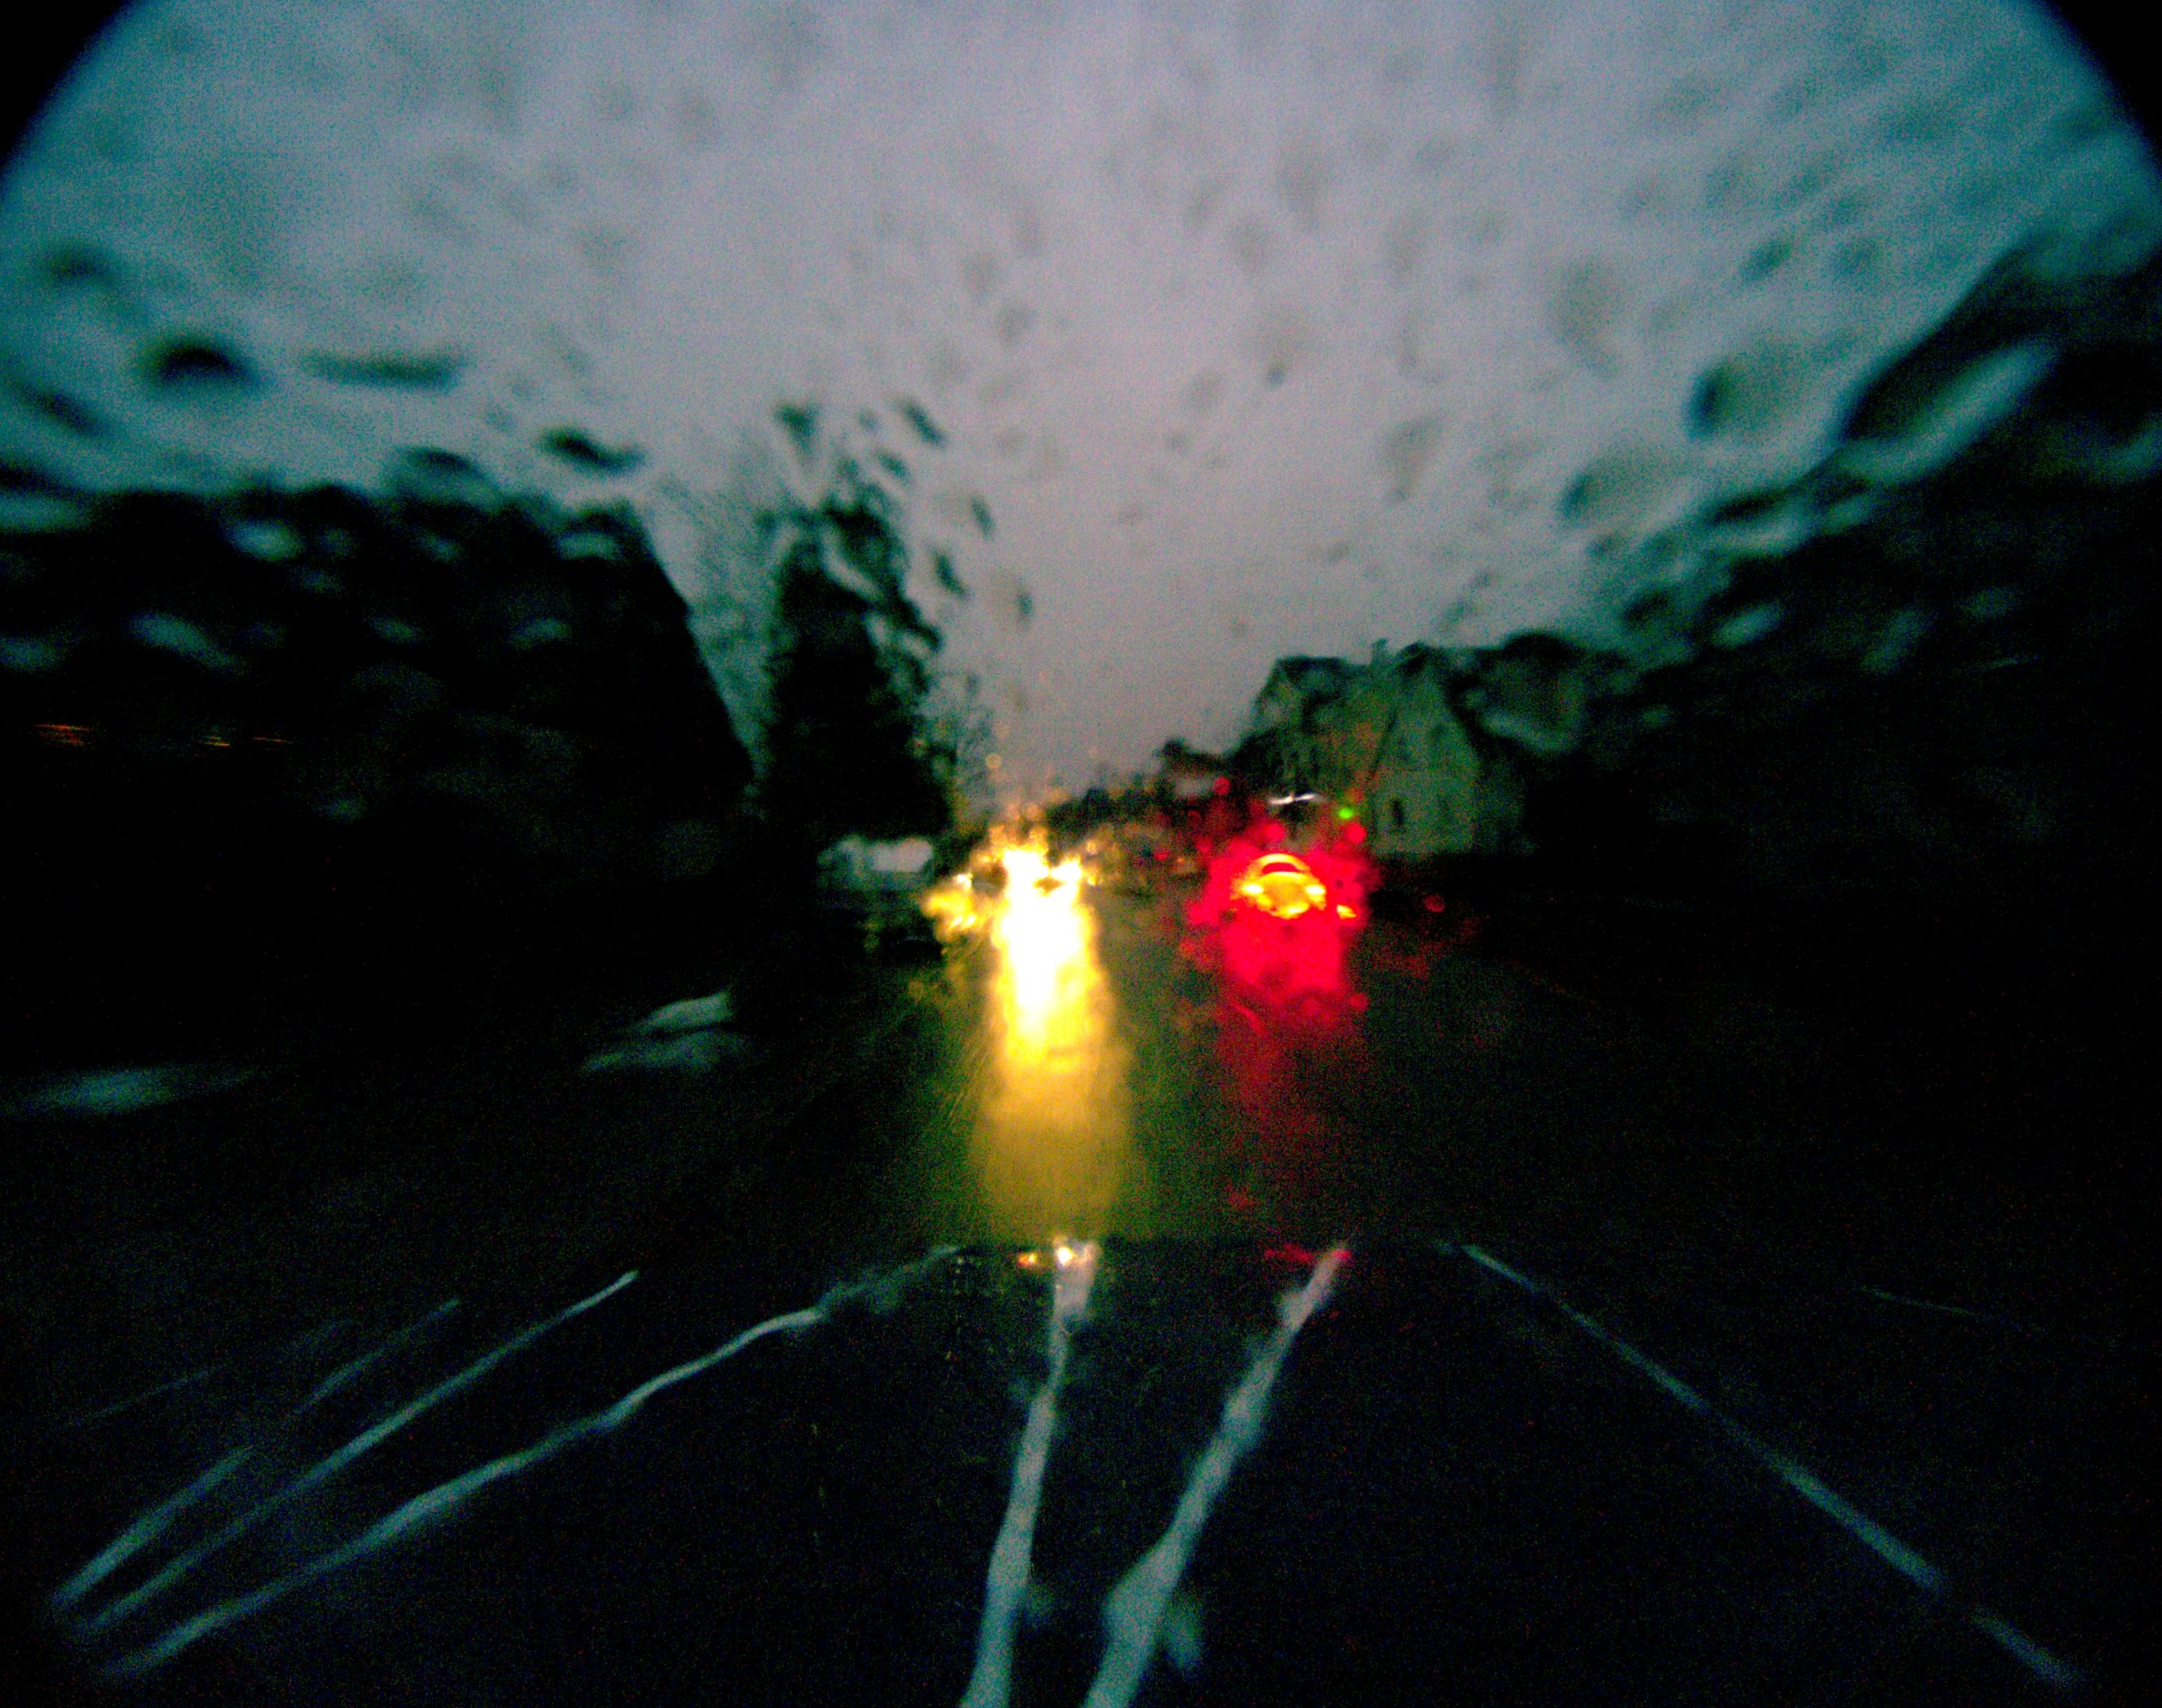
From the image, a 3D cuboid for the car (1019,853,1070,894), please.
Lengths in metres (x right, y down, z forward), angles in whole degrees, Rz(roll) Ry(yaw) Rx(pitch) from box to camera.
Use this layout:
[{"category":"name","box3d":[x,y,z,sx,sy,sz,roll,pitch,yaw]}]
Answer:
[{"category":"car","box3d":[-1.603,0.770,32.056,1.999,1.575,3.998,0,0,-5]}]

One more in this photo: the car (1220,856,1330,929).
[{"category":"car","box3d":[4.548,0.830,18.470,1.911,1.479,4.569,0,1,6]}]

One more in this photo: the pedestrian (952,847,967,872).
[{"category":"pedestrian","box3d":[-8.426,0.390,52.908,0.990,1.732,1.055,1,1,-8]}]

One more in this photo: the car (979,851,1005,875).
[{"category":"car","box3d":[-6.069,0.600,52.214,1.654,1.531,3.388,3,0,-6]}]

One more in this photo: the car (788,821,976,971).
[{"category":"car","box3d":[-3.095,0.570,13.188,1.983,2.002,5.743,1,0,-3]}]

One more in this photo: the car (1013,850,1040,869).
[{"category":"car","box3d":[-5.125,0.514,70.788,2.000,1.660,3.996,-1,1,-11]}]

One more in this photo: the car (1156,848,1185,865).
[{"category":"car","box3d":[8.104,0.202,69.220,1.787,1.358,3.997,-2,1,-5]}]

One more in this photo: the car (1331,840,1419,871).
[{"category":"car","box3d":[15.752,0.084,40.801,4.000,1.591,1.920,-1,1,-8]}]
